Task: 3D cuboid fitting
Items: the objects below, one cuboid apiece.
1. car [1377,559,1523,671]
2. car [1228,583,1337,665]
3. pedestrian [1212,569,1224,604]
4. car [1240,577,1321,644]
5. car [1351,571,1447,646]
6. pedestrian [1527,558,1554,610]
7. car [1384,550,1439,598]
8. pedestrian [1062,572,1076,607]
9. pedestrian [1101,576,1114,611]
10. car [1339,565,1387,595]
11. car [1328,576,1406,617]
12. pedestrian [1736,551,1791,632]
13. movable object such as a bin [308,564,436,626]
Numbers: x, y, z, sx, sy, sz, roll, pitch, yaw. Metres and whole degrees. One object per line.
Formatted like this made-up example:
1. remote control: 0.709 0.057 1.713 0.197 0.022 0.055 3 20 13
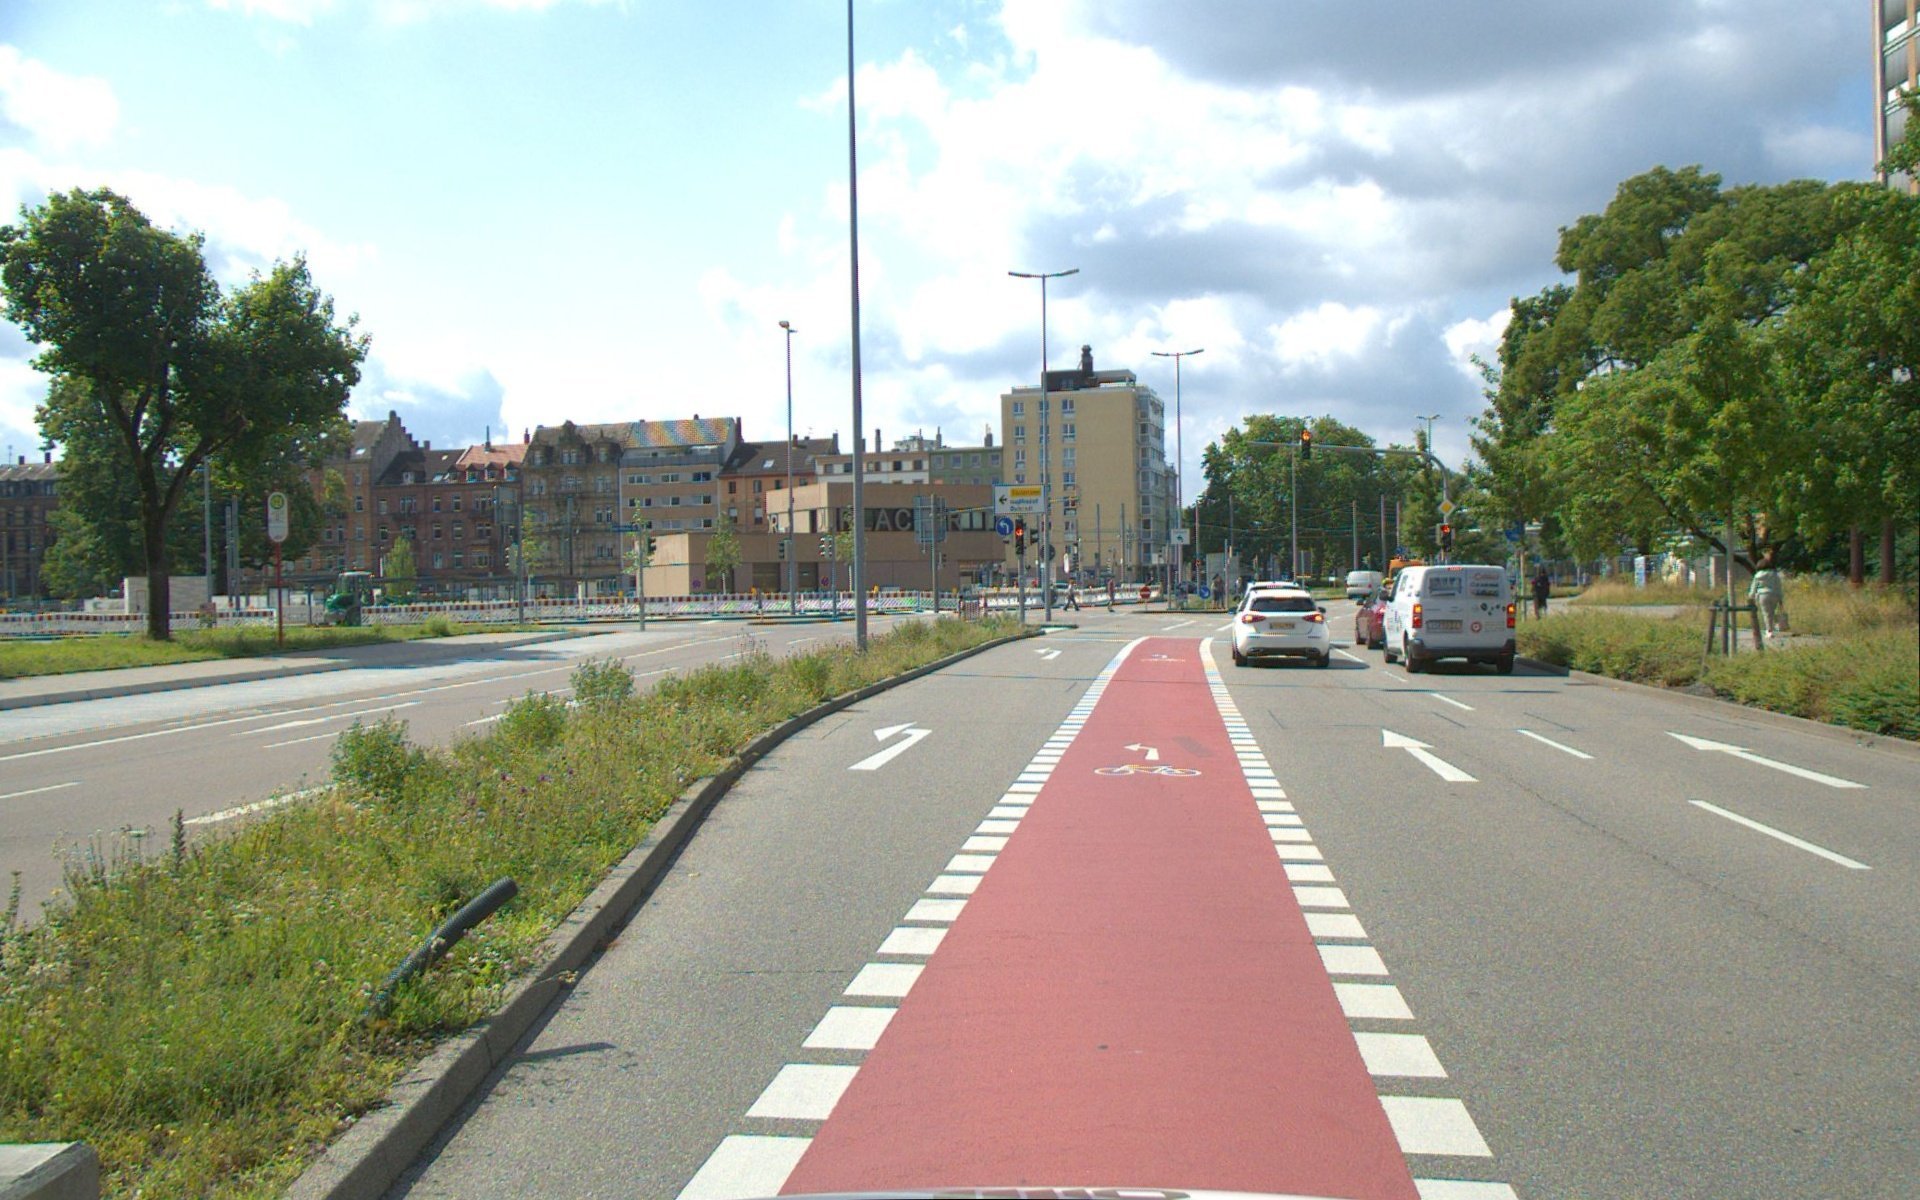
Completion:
1. car: 9.079 0.219 31.003 1.901 1.902 4.829 -1 1 8
2. car: 6.311 0.417 32.747 1.863 1.448 4.389 -1 1 8
3. pedestrian: 12.928 -0.669 82.859 0.513 1.713 0.624 -1 0 17
4. car: 7.933 0.226 41.171 1.753 1.566 4.014 0 1 8
5. car: 10.435 0.158 39.550 1.645 1.670 4.466 -1 1 7
6. pedestrian: 19.883 -0.559 56.663 0.726 1.766 0.679 -1 0 11
7. car: 28.148 -1.623 102.989 2.091 2.829 4.628 -2 0 31
8. pedestrian: 5.534 -0.523 84.049 0.513 1.763 0.624 -1 0 17
9. pedestrian: 7.352 -0.330 82.523 0.513 1.763 0.624 -1 0 17
10. car: 28.531 -1.445 116.914 1.969 2.001 4.628 -2 0 31
11. car: 19.467 -0.163 79.038 1.965 1.847 3.976 2 0 42
12. pedestrian: 17.002 -0.183 34.997 0.849 1.667 0.721 -1 0 9
13. movable object such as a bin: -28.985 -0.275 81.584 5.489 2.935 2.255 -2 0 -40
